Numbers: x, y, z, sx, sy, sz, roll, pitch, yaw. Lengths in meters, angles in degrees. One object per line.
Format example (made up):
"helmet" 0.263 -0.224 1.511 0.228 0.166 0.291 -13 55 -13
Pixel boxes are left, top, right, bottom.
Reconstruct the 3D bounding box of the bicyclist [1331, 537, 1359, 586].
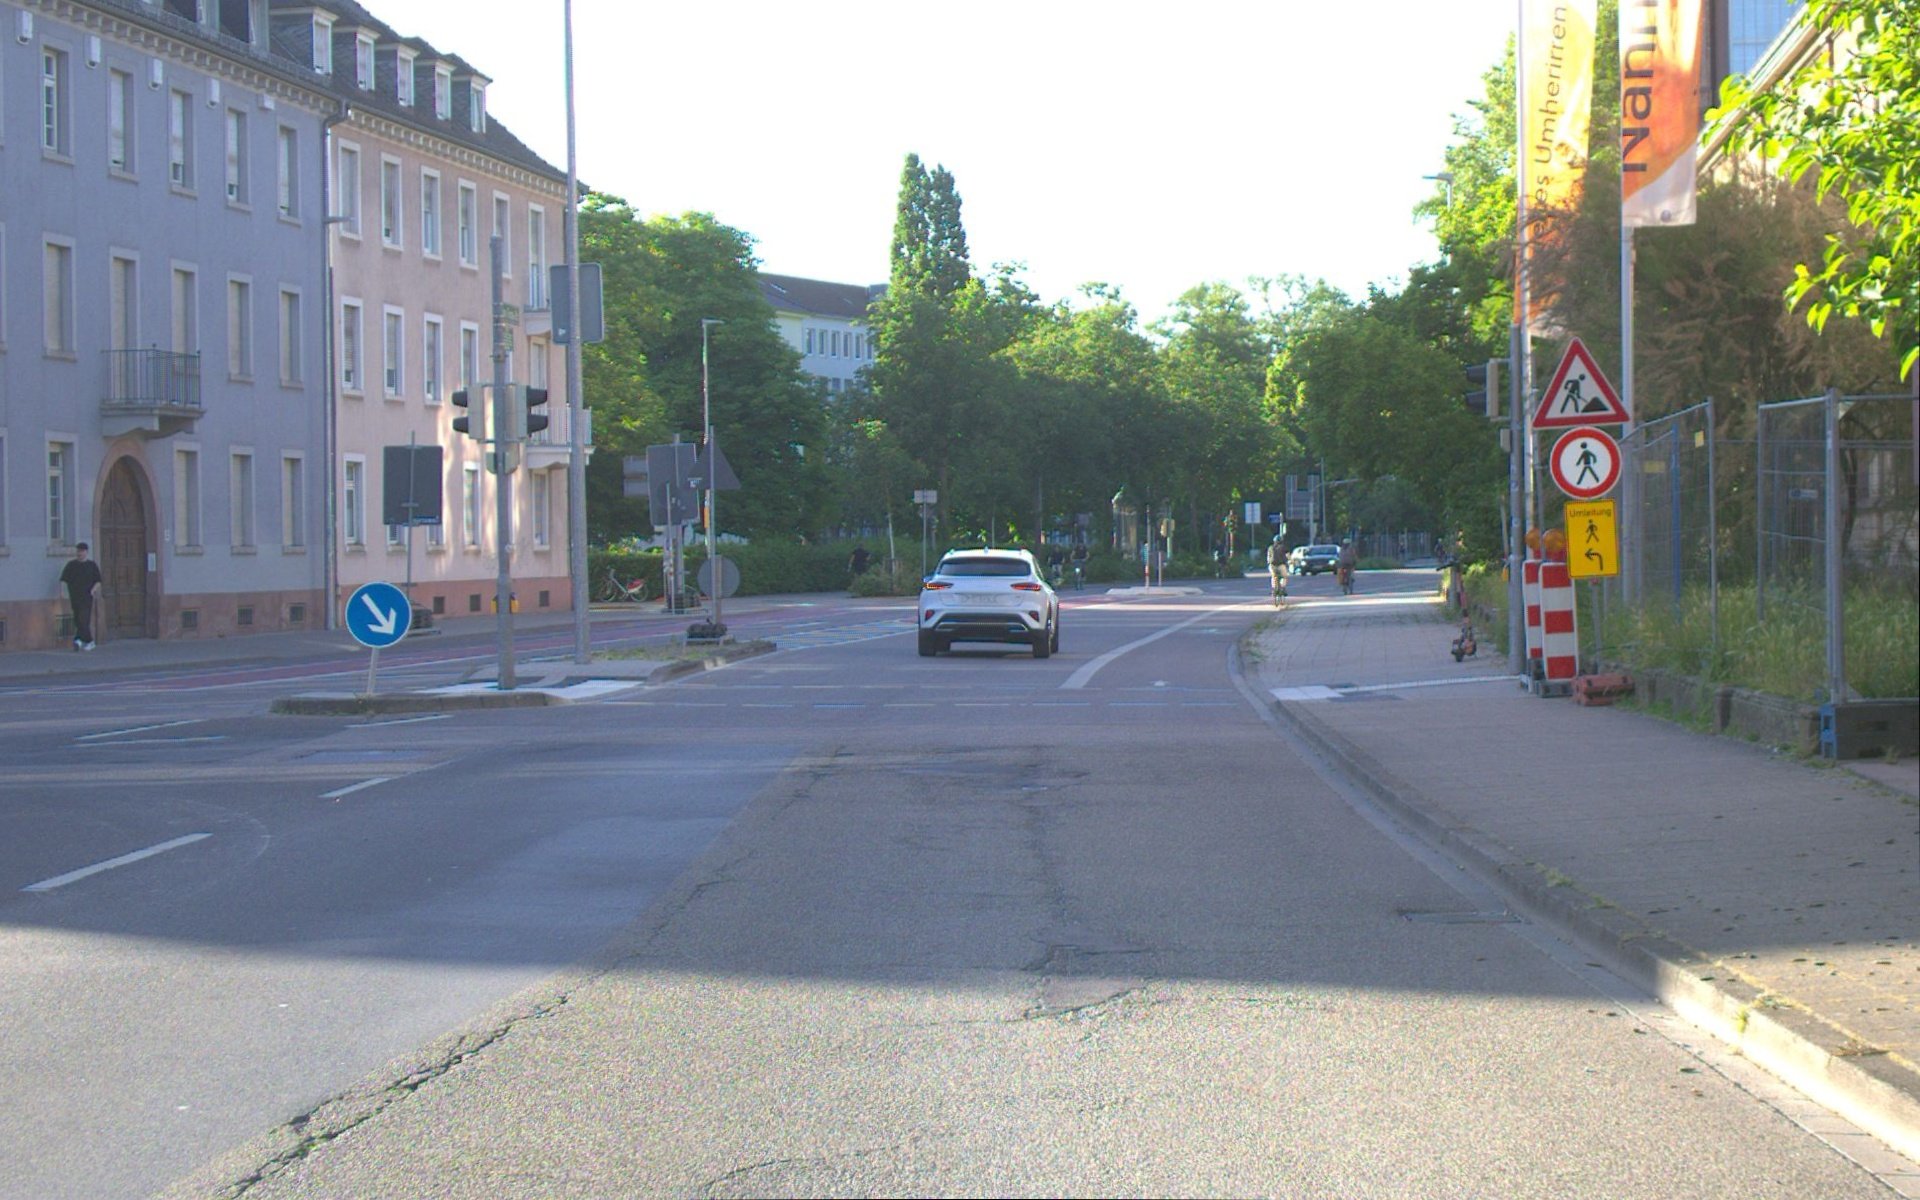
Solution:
"bicyclist" 12.105 -1.215 108.046 0.748 1.532 0.969 0 1 15

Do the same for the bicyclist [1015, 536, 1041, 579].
"bicyclist" 2.394 -1.517 121.681 0.738 1.480 0.665 -2 0 13

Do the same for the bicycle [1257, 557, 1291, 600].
"bicycle" 7.621 -0.531 83.354 0.643 1.021 2.212 1 1 9

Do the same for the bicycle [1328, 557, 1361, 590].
"bicycle" 12.065 -0.821 107.896 0.753 1.022 1.868 1 0 15

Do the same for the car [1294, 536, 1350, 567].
"car" 17.373 -2.335 164.908 1.813 1.415 4.551 -1 1 17

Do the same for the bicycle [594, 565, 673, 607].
"bicycle" -9.997 -0.433 105.331 2.321 1.225 0.560 -1 1 15

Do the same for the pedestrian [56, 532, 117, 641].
"pedestrian" -14.996 -0.238 59.032 0.631 1.840 1.013 2 1 7

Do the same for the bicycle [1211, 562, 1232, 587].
"bicycle" 12.131 -1.191 159.222 0.597 1.117 2.026 -4 0 13

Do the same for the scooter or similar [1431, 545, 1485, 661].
"scooter or similar" 5.804 0.017 40.118 0.555 1.304 1.832 -1 1 7

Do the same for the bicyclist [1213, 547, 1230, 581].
"bicyclist" 12.111 -1.667 159.253 0.629 1.517 0.724 -4 0 13

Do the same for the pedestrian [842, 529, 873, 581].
"pedestrian" -3.649 -1.598 122.553 0.856 1.845 1.001 -1 0 14

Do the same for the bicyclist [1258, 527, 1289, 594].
"bicyclist" 7.601 -0.969 83.261 0.636 1.609 1.283 0 1 10

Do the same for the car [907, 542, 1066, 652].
"car" 0.419 -0.064 48.446 1.994 1.448 4.000 -1 1 4
